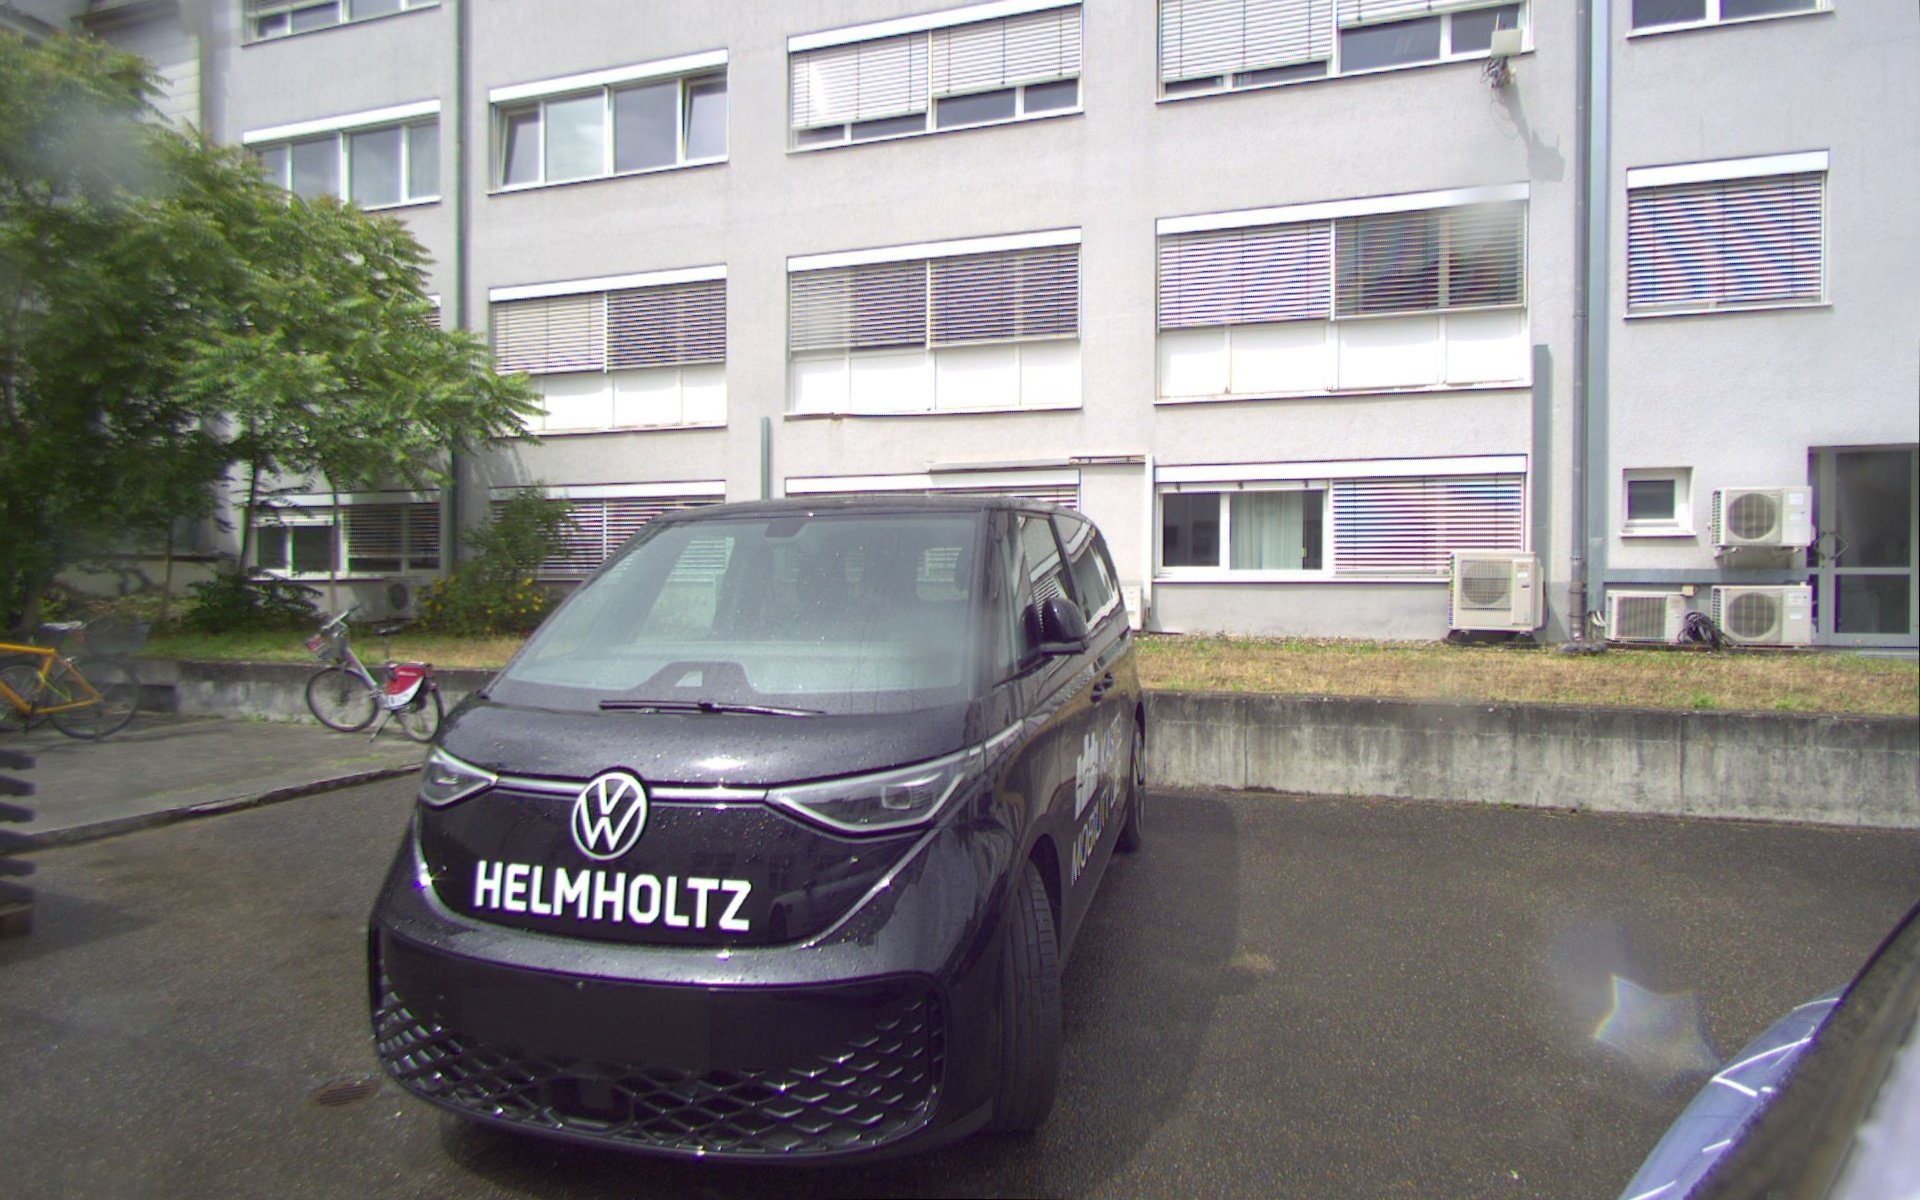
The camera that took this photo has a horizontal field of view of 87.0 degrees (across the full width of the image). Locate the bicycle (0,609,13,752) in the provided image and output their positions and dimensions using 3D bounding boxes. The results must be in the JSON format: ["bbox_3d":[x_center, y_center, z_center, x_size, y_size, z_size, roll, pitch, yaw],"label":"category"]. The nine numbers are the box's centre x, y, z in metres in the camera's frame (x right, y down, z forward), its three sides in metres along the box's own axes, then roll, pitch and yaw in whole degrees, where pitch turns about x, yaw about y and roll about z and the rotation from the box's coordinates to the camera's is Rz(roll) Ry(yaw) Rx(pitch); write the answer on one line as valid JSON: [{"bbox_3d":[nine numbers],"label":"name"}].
[{"bbox_3d":[-8.043,0.640,7.279,0.401,1.118,1.782,1,1,24],"label":"bicycle"}]

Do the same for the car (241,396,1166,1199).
[{"bbox_3d":[-0.226,0.473,4.535,1.942,1.888,4.726,0,2,15],"label":"car"}]

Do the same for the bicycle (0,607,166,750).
[{"bbox_3d":[-7.695,0.632,8.389,0.363,1.118,1.782,1,1,24],"label":"bicycle"}]

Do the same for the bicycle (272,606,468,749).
[{"bbox_3d":[-5.151,0.639,8.825,1.774,1.117,0.444,1,3,21],"label":"bicycle"}]

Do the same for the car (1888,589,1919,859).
[{"bbox_3d":[5.143,0.696,2.981,1.739,1.369,4.506,0,2,17],"label":"car"}]
